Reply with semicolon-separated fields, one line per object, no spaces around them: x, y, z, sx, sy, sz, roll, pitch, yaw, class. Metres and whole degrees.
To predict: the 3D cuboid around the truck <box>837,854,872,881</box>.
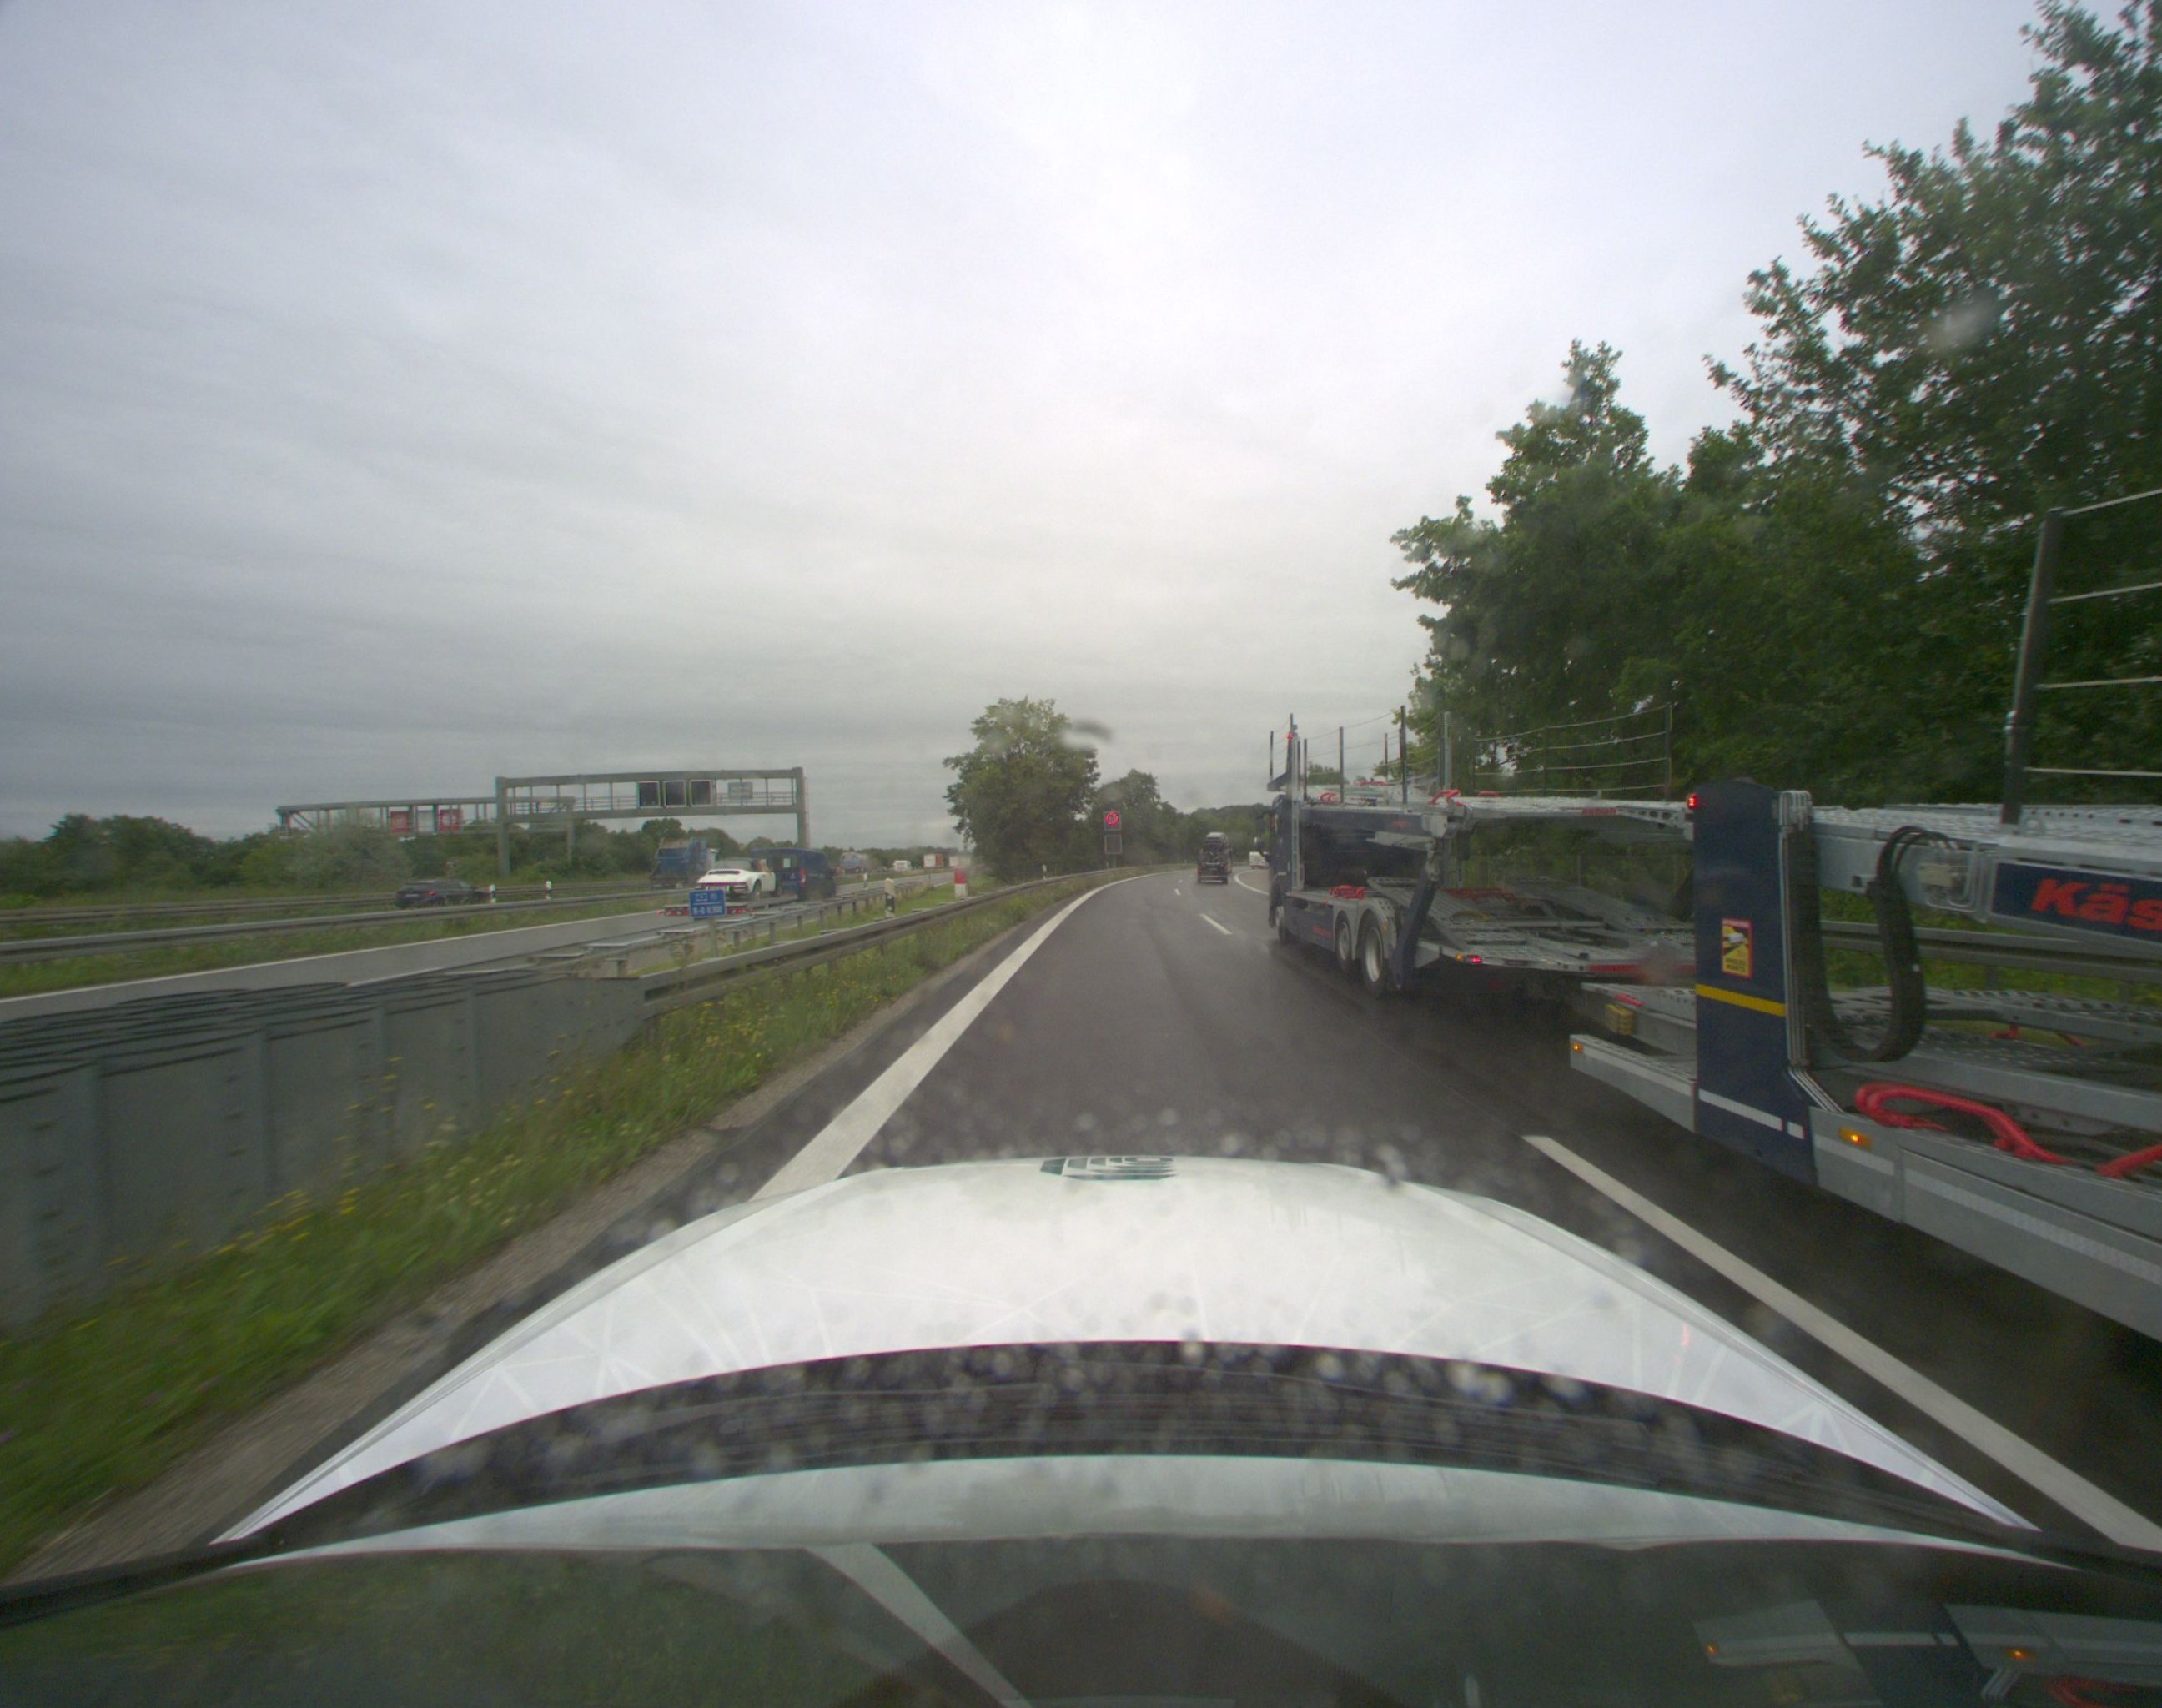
-30.161;1.827;108.973;2.852;3.365;8.616;-1;-1;-4;truck

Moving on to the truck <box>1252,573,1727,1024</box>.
4.558;-0.447;11.788;2.727;3.968;9.136;-1;-1;3;truck

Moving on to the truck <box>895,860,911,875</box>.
-32.406;2.472;148.512;2.239;2.704;5.270;-1;-1;-4;truck

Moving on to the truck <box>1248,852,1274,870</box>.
28.271;1.081;127.826;2.625;2.605;6.455;-2;-1;23;truck

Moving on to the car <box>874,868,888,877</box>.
-36.131;3.283;147.231;1.882;1.574;3.994;-1;-1;-4;car

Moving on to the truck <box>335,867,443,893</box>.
-58.806;2.167;69.547;1.989;2.014;8.805;-1;-1;-2;truck

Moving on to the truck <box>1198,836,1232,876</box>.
14.606;0.184;88.767;3.375;3.999;10.874;1;0;9;truck

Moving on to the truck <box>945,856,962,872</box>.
-37.590;2.964;240.529;3.726;4.417;11.877;-1;-1;-4;truck

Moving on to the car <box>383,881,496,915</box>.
-29.496;1.994;37.656;1.801;1.391;4.765;-1;-1;-6;car

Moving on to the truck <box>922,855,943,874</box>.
-34.863;2.476;191.420;3.726;4.417;10.178;-1;-1;-4;truck

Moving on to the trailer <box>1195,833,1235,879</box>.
12.715;0.178;77.396;3.429;3.999;12.057;1;0;9;trailer

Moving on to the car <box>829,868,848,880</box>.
-33.733;2.786;113.367;1.806;1.574;3.994;-1;-1;-4;car

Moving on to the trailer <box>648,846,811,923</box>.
-10.486;0.856;25.151;2.480;1.994;7.050;-1;-1;-5;trailer

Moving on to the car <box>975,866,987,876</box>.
-18.043;3.060;147.168;1.958;1.637;5.615;-1;-1;-4;car

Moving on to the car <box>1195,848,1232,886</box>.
8.445;0.817;51.840;2.097;2.265;5.912;-2;-1;9;car

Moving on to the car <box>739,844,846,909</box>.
-11.043;0.820;31.776;2.369;2.266;6.245;-1;-1;-5;car

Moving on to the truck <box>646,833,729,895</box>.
-26.310;0.700;54.886;2.634;3.813;7.328;-1;-1;-6;truck

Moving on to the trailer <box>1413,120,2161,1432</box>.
4.085;-0.203;1.840;2.766;3.285;10.412;-1;0;2;trailer
